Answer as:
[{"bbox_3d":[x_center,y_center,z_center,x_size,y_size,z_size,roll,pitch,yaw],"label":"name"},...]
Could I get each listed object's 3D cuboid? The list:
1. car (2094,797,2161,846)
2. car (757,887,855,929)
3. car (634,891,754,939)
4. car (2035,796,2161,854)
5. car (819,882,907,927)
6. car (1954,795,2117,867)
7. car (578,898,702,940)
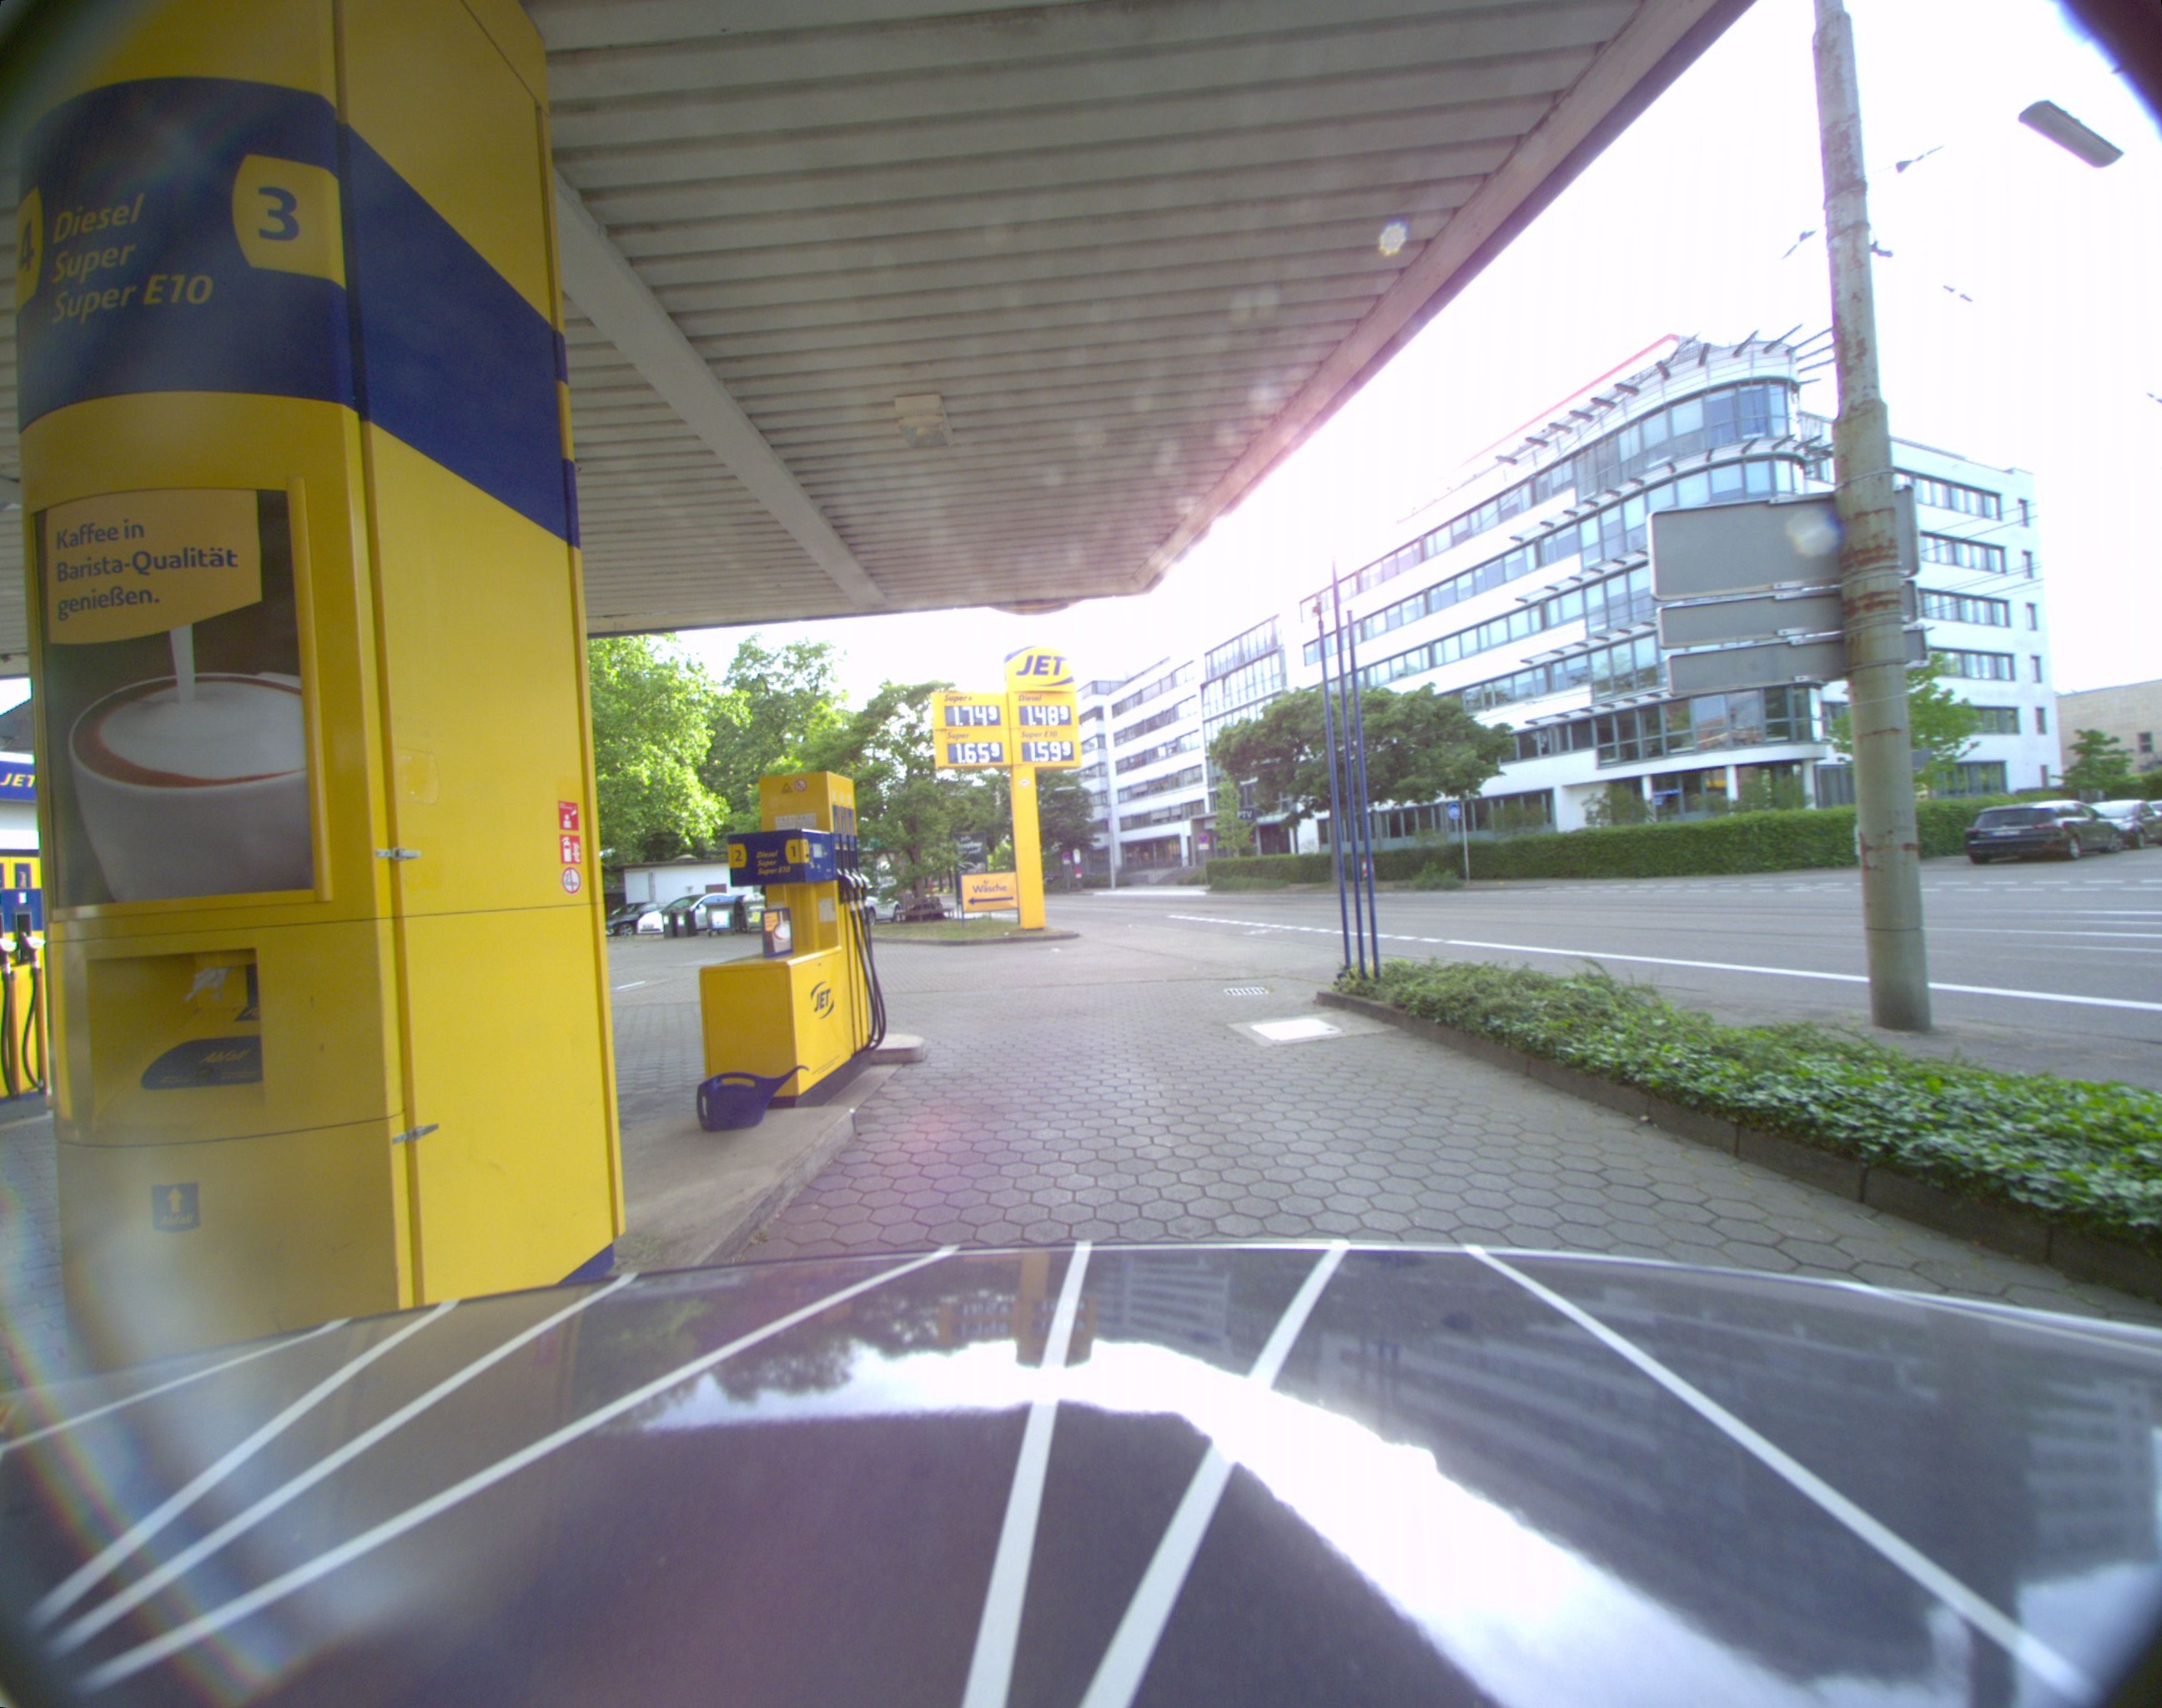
[{"bbox_3d":[37.127,-1.191,26.157,4.296,1.509,1.945,-4,-1,-27],"label":"car"},{"bbox_3d":[-11.655,2.271,32.503,1.771,1.591,4.400,-4,-4,13],"label":"car"},{"bbox_3d":[-15.293,2.368,30.324,1.771,1.591,4.398,-2,-1,14],"label":"car"},{"bbox_3d":[32.545,-0.936,24.104,4.296,1.530,1.945,-4,-1,-27],"label":"car"},{"bbox_3d":[-8.637,2.005,30.512,1.772,1.591,4.398,-4,-4,6],"label":"car"},{"bbox_3d":[27.274,-0.660,21.702,4.296,1.681,2.010,-4,-1,-27],"label":"car"},{"bbox_3d":[-17.795,2.593,30.918,1.771,1.367,4.398,-2,-1,14],"label":"car"}]
